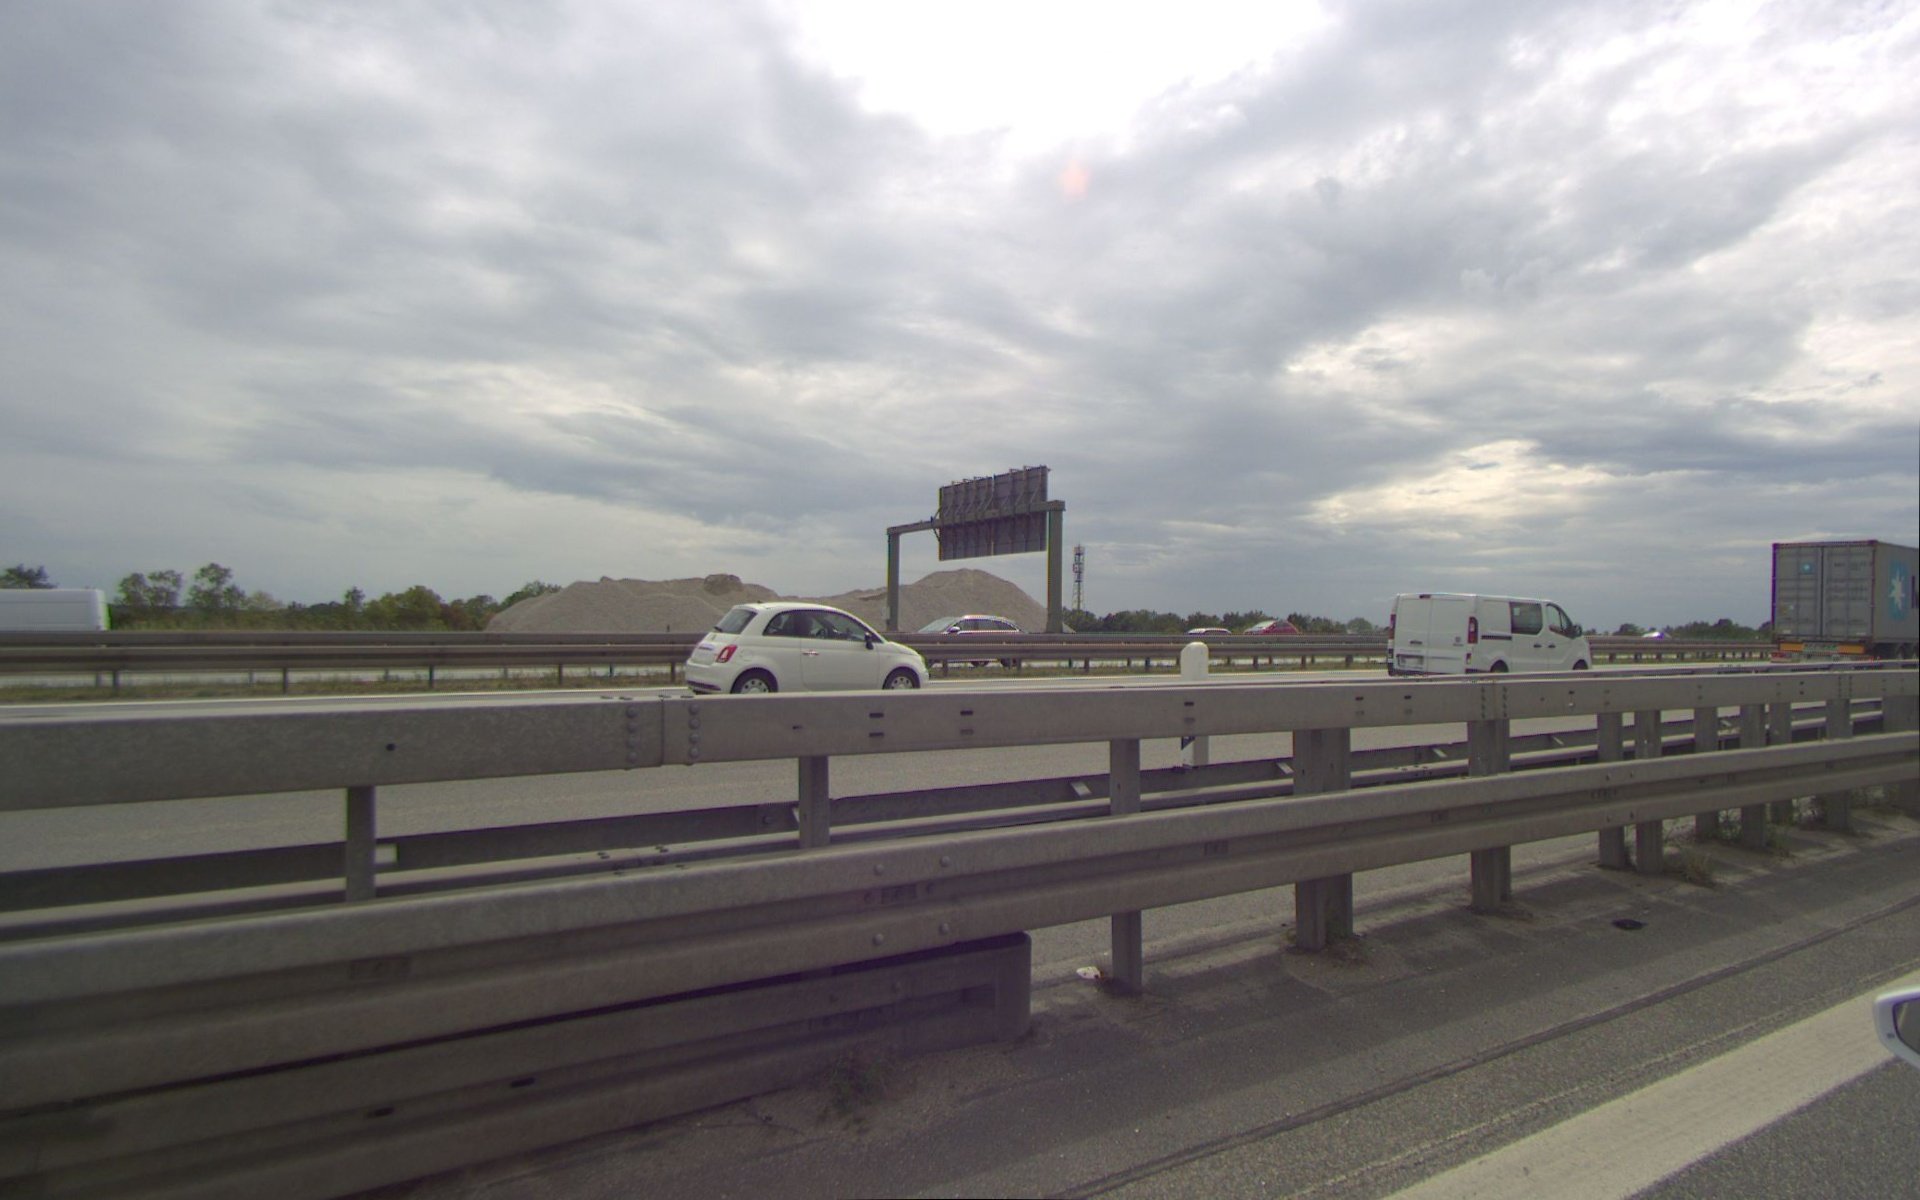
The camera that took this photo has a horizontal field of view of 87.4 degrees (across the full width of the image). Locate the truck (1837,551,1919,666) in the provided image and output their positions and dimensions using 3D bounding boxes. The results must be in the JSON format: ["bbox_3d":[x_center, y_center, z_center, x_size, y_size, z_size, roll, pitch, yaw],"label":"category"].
[{"bbox_3d":[35.221,0.354,36.654,6.540,3.964,3.227,1,0,-34],"label":"truck"}]

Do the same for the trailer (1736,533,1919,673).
[{"bbox_3d":[30.209,0.204,33.298,12.248,3.976,3.217,2,0,-33],"label":"trailer"}]

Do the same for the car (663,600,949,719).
[{"bbox_3d":[-2.166,0.819,14.511,3.738,1.504,1.669,2,-2,-36],"label":"car"}]

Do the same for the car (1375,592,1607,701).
[{"bbox_3d":[10.854,0.904,20.412,5.078,1.963,1.988,2,-1,-33],"label":"car"}]

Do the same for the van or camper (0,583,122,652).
[{"bbox_3d":[-28.750,0.518,30.505,4.832,2.040,1.981,1,0,-34],"label":"van or camper"}]

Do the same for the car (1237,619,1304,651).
[{"bbox_3d":[19.707,2.229,63.648,3.958,1.873,1.981,2,0,-34],"label":"car"}]
